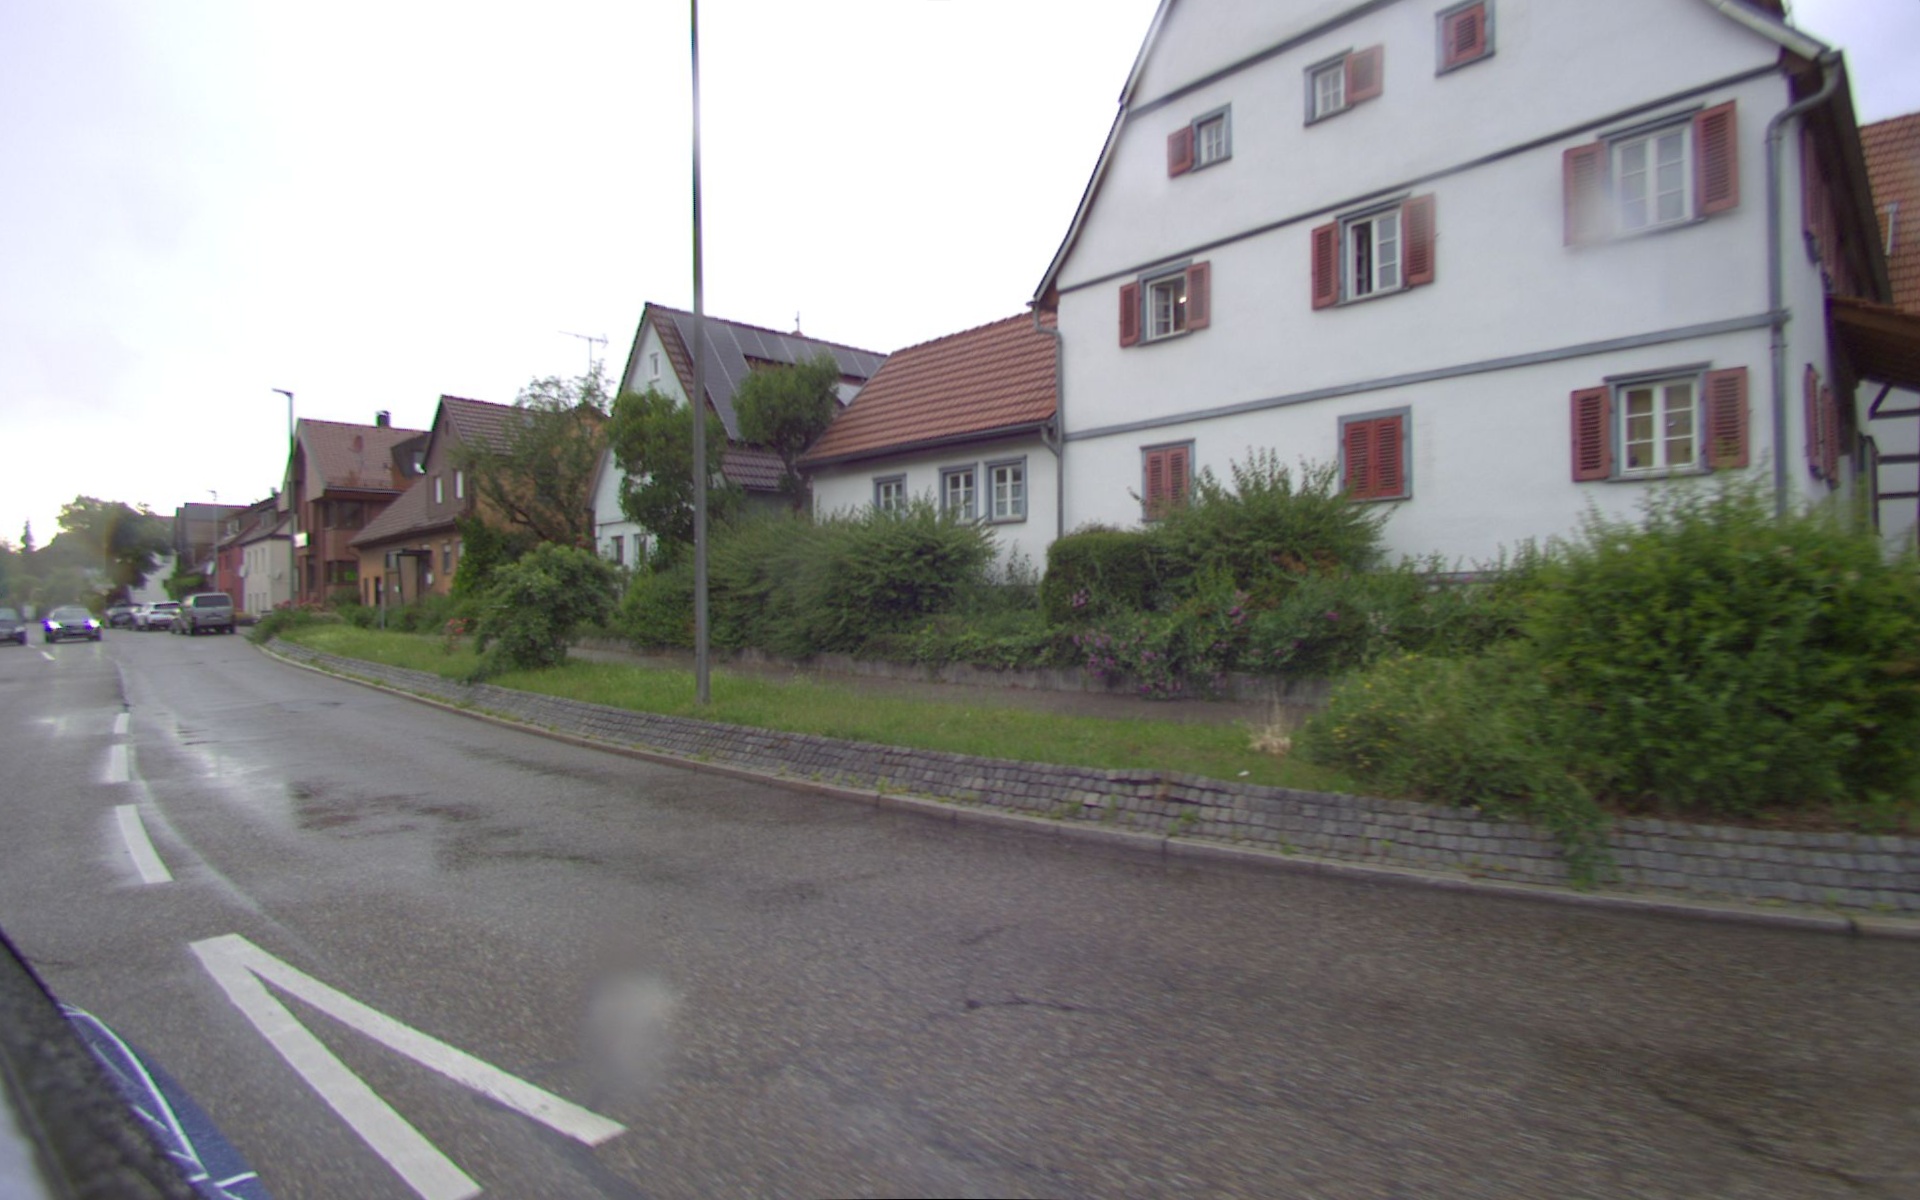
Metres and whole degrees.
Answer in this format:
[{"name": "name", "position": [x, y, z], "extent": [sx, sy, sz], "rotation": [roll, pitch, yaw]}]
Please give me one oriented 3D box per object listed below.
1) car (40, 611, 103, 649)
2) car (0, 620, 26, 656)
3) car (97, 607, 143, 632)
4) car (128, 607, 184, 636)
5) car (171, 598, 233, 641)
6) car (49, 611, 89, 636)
[{"name": "car", "position": [-40.170, 1.332, 45.708], "extent": [1.970, 1.541, 4.004], "rotation": [-3, 1, -43]}, {"name": "car", "position": [-42.133, 1.665, 44.262], "extent": [1.762, 1.475, 4.003], "rotation": [-1, 0, -44]}, {"name": "car", "position": [-57.564, 1.353, 69.313], "extent": [3.997, 1.634, 1.789], "rotation": [-1, 0, 41]}, {"name": "car", "position": [-46.932, 1.240, 59.051], "extent": [3.997, 1.634, 1.789], "rotation": [-1, 0, 41]}, {"name": "car", "position": [-36.660, 0.928, 48.916], "extent": [1.820, 1.937, 4.193], "rotation": [-3, 2, -44]}, {"name": "car", "position": [-59.675, 1.583, 67.763], "extent": [1.786, 1.586, 4.003], "rotation": [-1, 0, -44]}]
